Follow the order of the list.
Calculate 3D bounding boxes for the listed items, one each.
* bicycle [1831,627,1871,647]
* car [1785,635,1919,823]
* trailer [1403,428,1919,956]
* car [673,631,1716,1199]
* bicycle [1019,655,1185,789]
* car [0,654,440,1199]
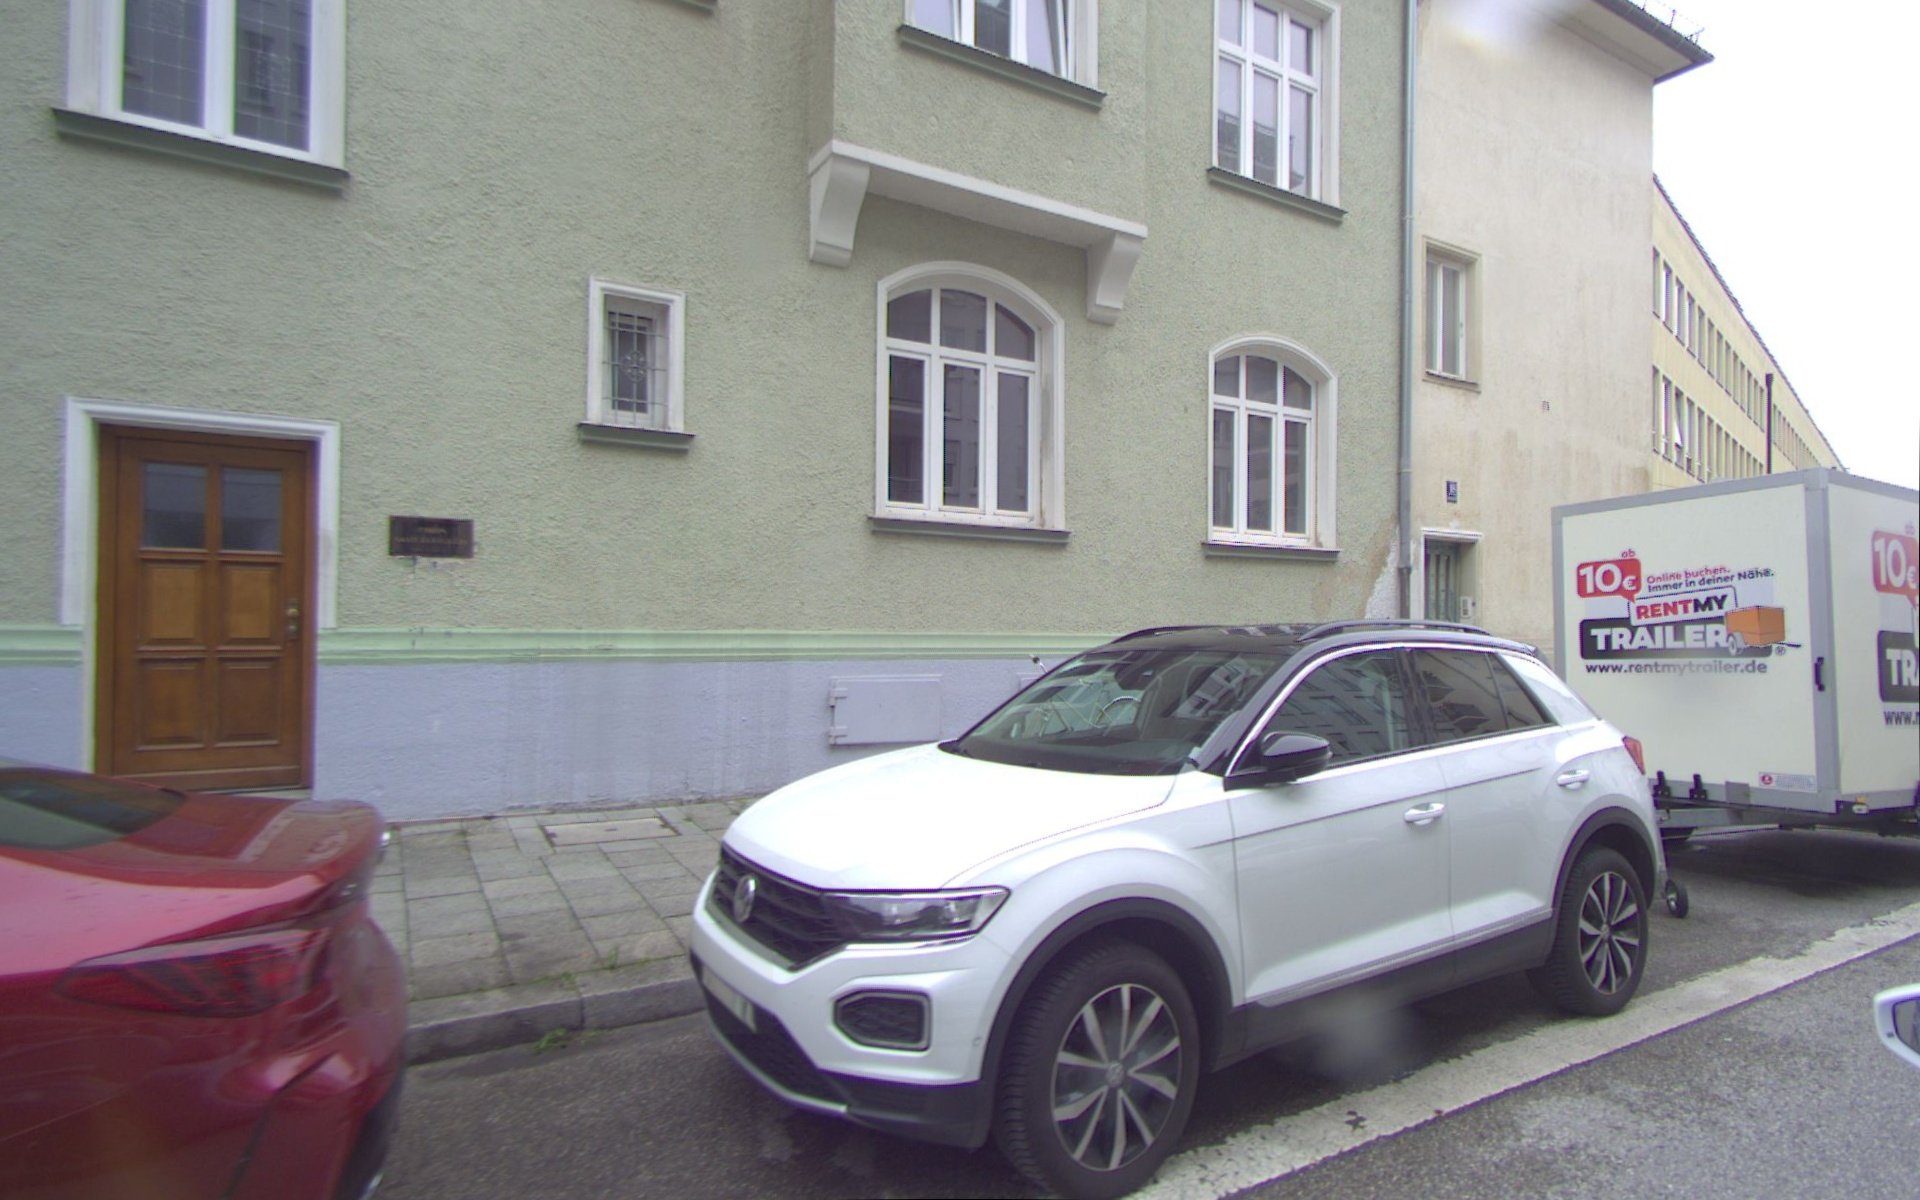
[{"bbox_3d":[55.384,2.287,62.427,1.824,1.110,0.699,1,0,42],"label":"bicycle"},{"bbox_3d":[10.202,1.105,9.587,5.029,1.562,1.856,1,-3,-29],"label":"car"},{"bbox_3d":[5.366,0.527,6.710,4.518,2.503,1.969,1,-4,-28],"label":"trailer"},{"bbox_3d":[1.106,0.915,4.011,4.060,1.550,1.671,1,-2,-31],"label":"car"},{"bbox_3d":[1.289,1.052,9.008,1.506,1.099,0.458,2,0,-32],"label":"bicycle"},{"bbox_3d":[-3.251,0.815,1.450,4.352,1.386,1.737,1,-2,-31],"label":"car"}]
